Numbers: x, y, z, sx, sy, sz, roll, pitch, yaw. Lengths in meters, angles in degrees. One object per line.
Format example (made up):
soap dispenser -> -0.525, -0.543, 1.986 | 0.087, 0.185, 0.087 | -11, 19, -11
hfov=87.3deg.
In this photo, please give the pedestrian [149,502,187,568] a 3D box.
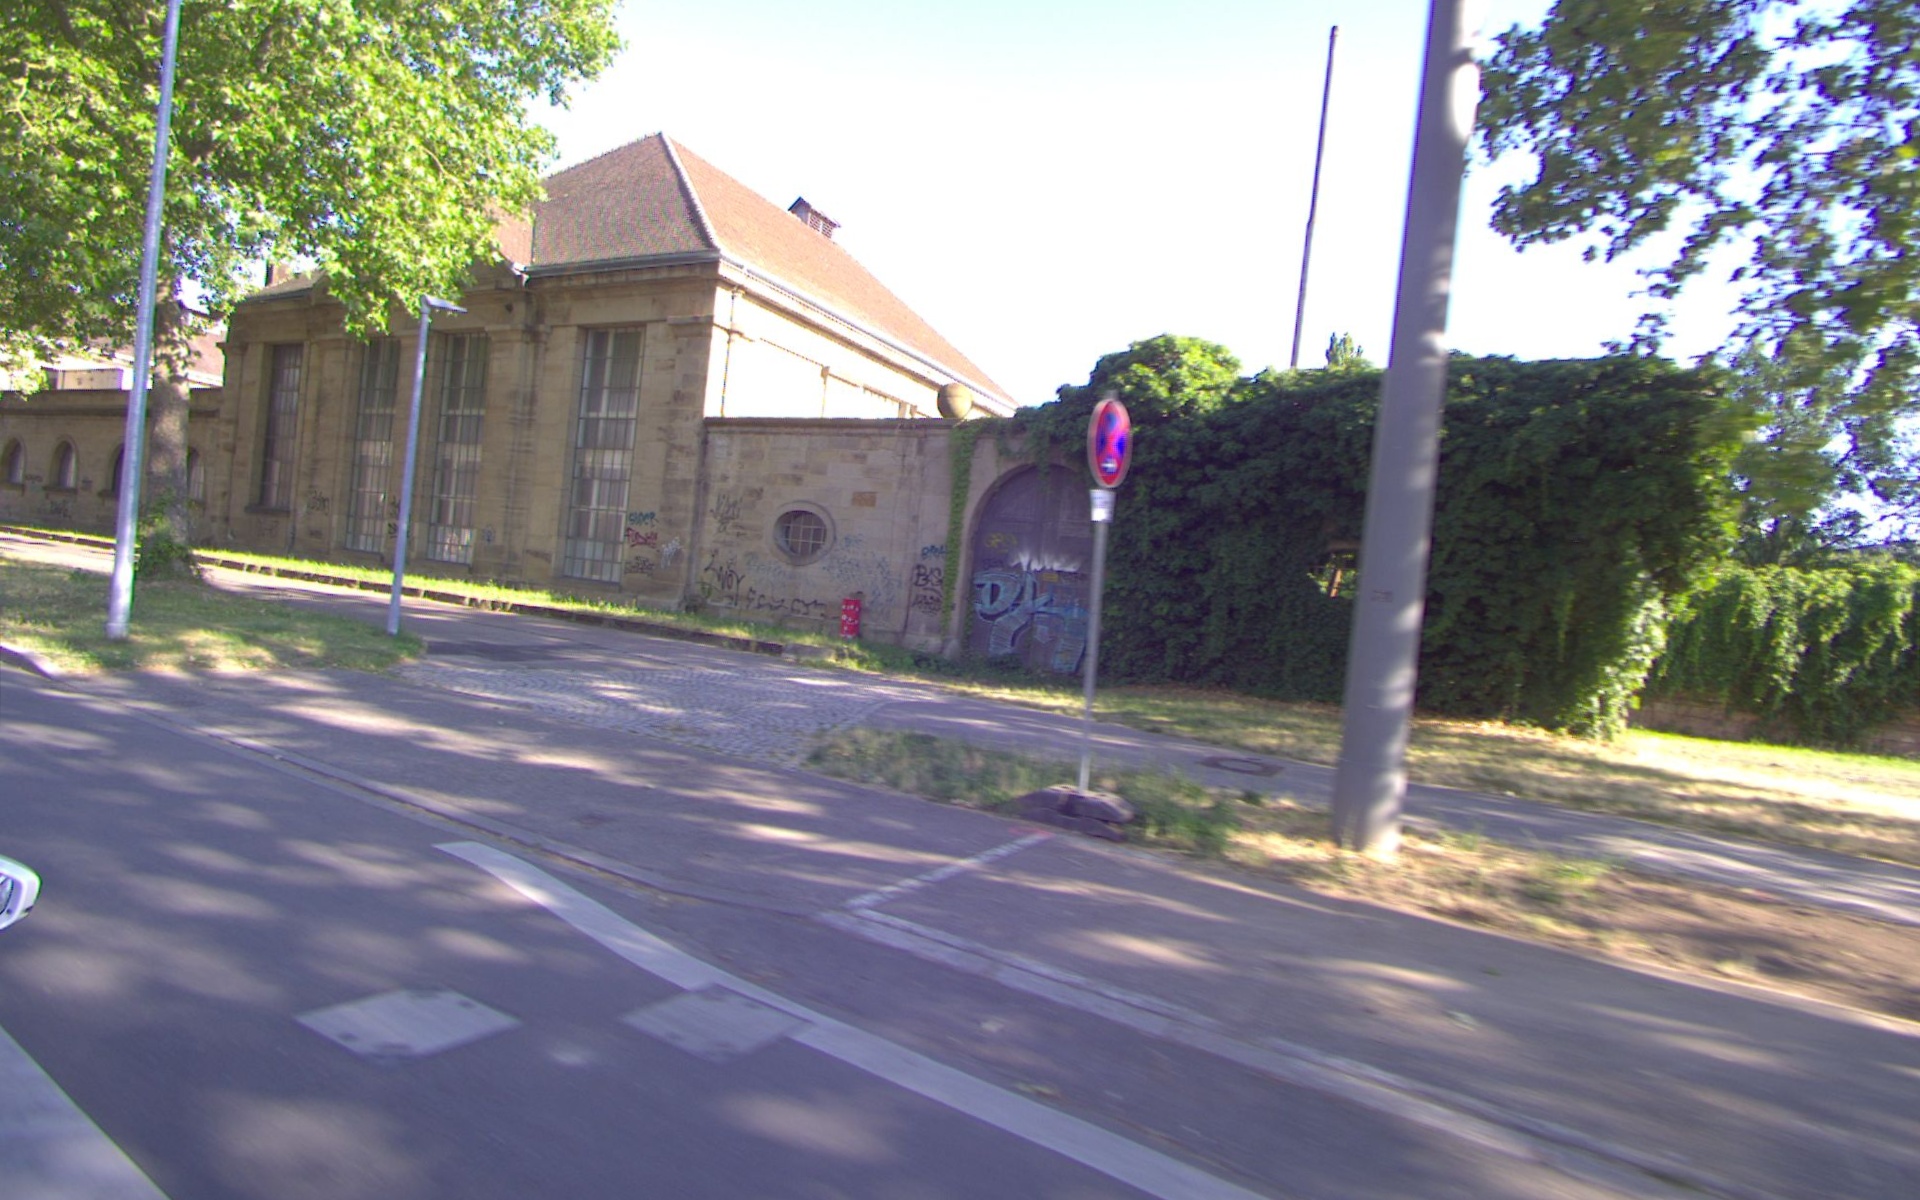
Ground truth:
pedestrian -> -21.399, -1.745, 27.180 | 0.625, 1.706, 0.608 | 6, 5, 27
